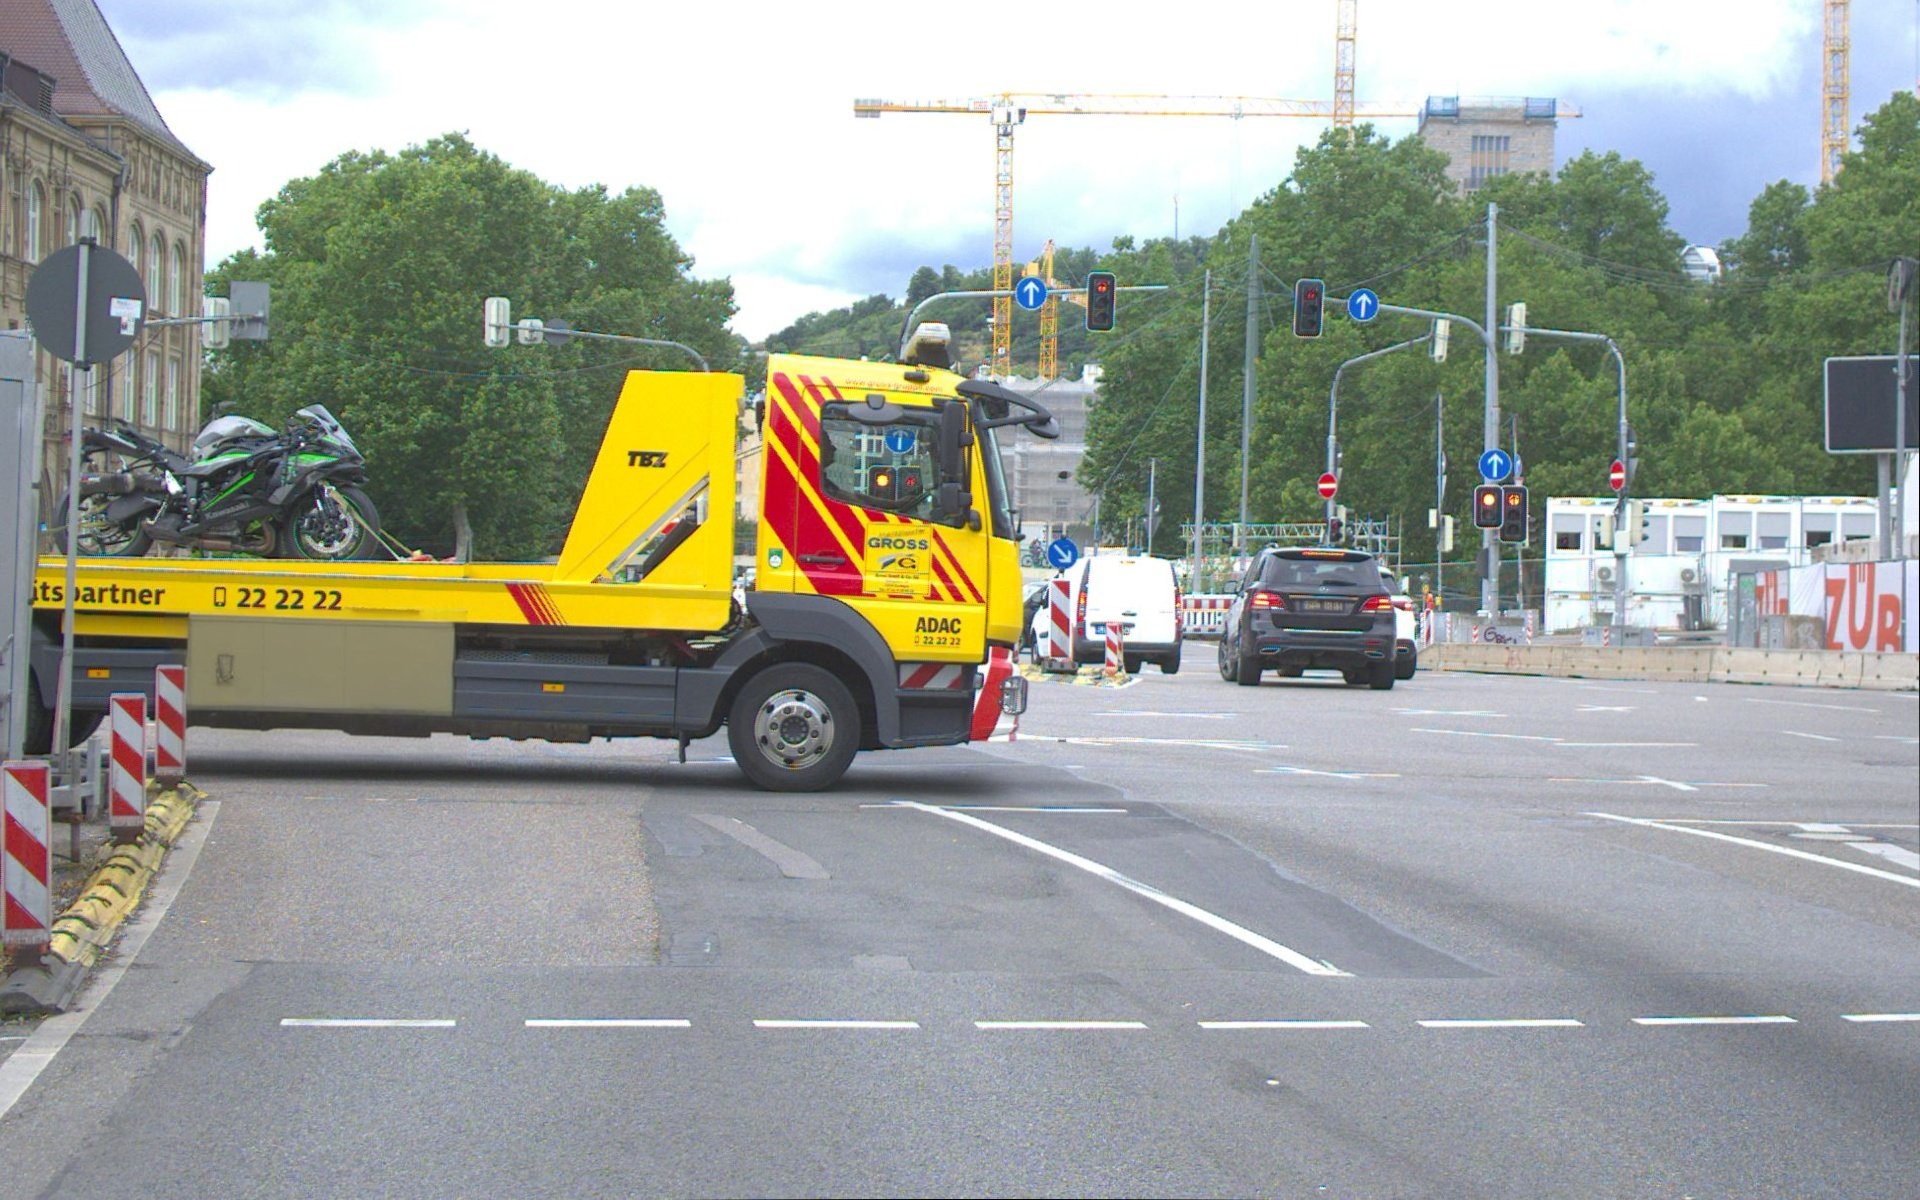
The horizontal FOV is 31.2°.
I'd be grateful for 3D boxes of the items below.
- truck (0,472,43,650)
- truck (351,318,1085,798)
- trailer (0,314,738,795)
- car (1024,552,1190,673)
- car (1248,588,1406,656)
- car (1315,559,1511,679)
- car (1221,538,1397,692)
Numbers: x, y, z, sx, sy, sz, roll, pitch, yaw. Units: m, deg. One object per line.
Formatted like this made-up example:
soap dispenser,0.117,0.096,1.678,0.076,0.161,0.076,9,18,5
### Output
truck,-19.706,-0.722,60.537,6.580,3.135,2.368,1,0,-23
truck,-1.442,-0.253,21.330,4.204,2.716,2.863,1,0,-2
trailer,-5.079,-0.290,21.161,7.348,2.716,2.863,1,0,-3
car,2.285,0.162,54.682,1.863,1.827,4.723,1,1,-7
car,9.817,0.584,91.778,3.989,1.722,1.999,1,0,12
car,6.980,0.258,53.466,1.993,1.753,4.506,1,1,-6
car,4.362,0.161,43.532,1.994,1.828,4.257,1,1,3
